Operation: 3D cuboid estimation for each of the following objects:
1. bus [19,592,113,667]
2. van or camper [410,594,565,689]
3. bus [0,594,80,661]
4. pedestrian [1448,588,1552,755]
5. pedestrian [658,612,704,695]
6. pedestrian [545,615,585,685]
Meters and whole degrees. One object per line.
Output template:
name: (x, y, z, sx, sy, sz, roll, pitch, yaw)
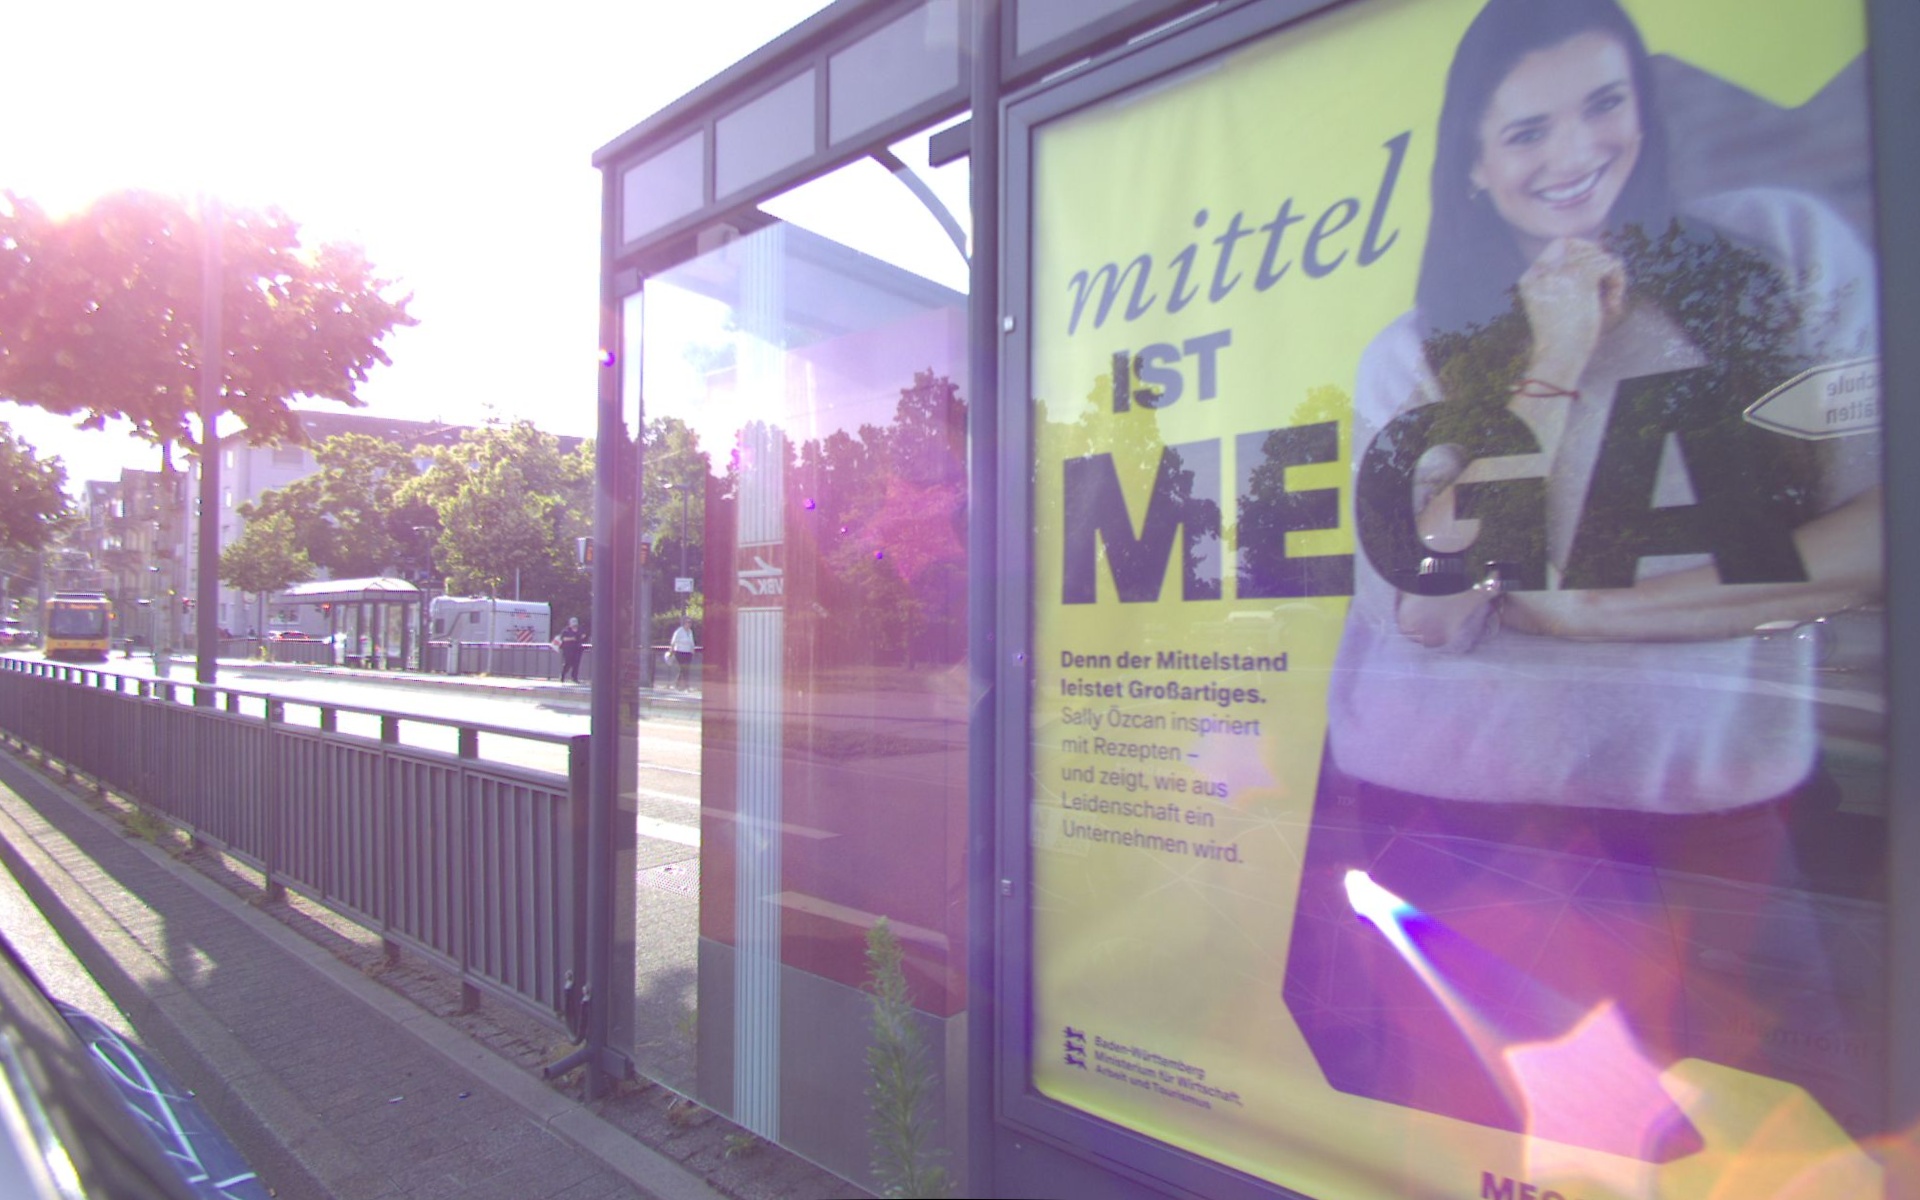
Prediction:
bus: (-45.158, 1.396, 51.019, 9.257, 3.461, 2.405, -1, 0, 41)
van or camper: (-16.497, 1.350, 35.138, 6.408, 2.990, 2.494, -1, 0, 41)
bus: (-52.115, 1.481, 57.143, 9.257, 3.461, 2.405, -1, 0, 41)
pedestrian: (5.754, 0.759, 10.802, 0.877, 1.697, 0.547, -2, -6, 41)
pedestrian: (-5.873, 1.132, 21.321, 0.618, 1.697, 0.613, -2, -6, 41)
pedestrian: (-9.843, 1.239, 25.226, 0.618, 1.697, 0.613, -2, -6, 41)
